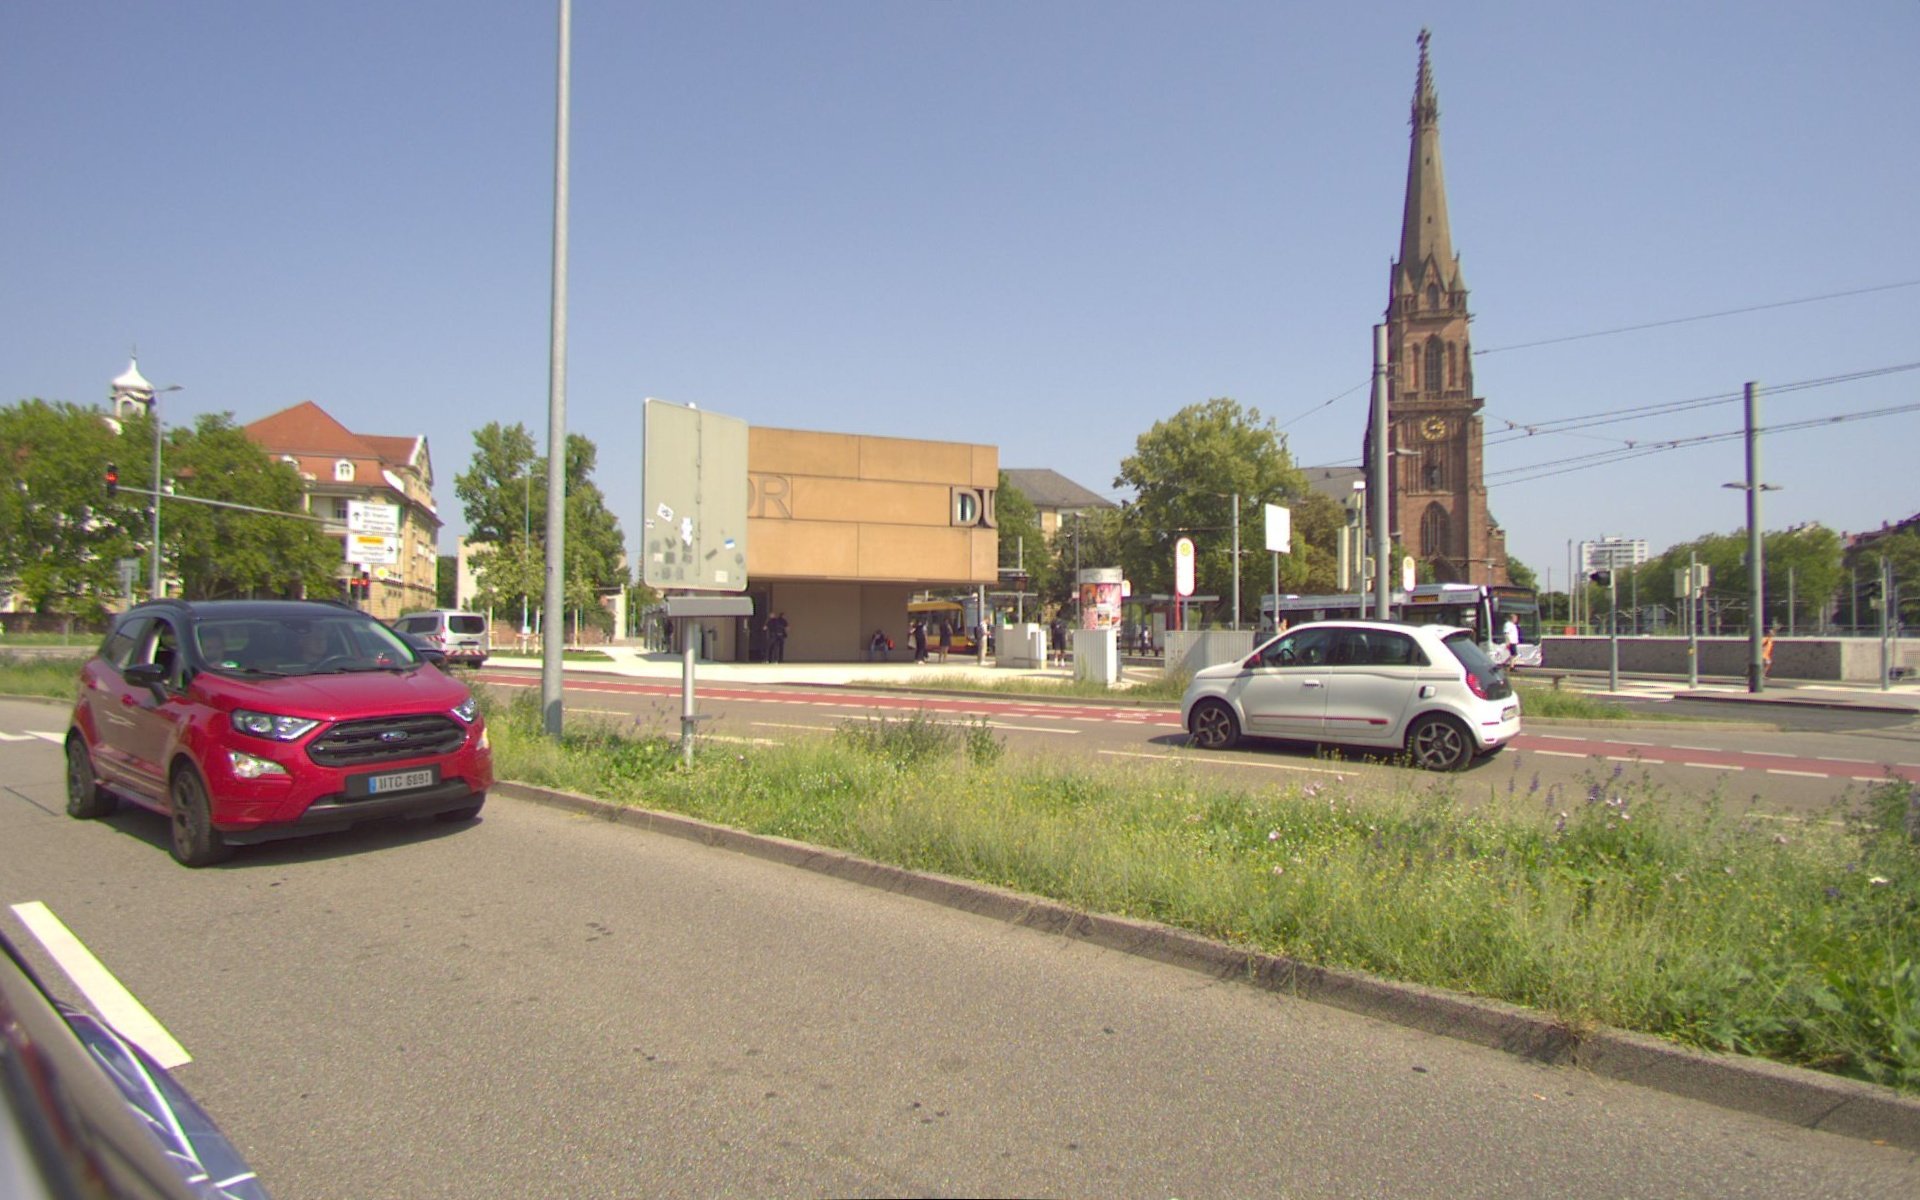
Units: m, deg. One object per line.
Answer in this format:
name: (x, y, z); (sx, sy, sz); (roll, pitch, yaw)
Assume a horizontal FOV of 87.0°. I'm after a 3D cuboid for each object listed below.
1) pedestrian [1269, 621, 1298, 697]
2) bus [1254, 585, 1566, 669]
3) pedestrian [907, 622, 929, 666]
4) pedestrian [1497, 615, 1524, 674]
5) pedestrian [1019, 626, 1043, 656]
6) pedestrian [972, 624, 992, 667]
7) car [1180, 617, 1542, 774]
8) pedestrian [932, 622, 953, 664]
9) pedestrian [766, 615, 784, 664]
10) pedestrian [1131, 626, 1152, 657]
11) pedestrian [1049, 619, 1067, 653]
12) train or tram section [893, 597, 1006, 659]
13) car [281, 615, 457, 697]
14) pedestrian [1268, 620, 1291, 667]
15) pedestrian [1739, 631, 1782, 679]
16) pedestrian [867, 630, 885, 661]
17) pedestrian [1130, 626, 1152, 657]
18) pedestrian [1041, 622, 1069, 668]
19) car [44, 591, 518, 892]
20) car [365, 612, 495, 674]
pedestrian: (7.925, 1.432, 24.810); (0.633, 1.825, 0.598); (-1, 0, 17)
bus: (16.573, 1.073, 39.105); (3.346, 2.733, 12.382); (1, -2, -20)
pedestrian: (-1.490, 1.549, 35.680); (0.541, 1.508, 0.532); (-2, -3, 40)
pedestrian: (17.313, 1.397, 31.819); (0.638, 1.825, 0.594); (-1, 0, 39)
pedestrian: (4.125, 2.396, 58.860); (1.060, 1.709, 1.068); (1, -2, -22)
pedestrian: (0.794, 1.632, 36.485); (0.541, 1.508, 0.532); (-2, -3, 40)
car: (4.395, 0.961, 11.372); (3.476, 1.490, 1.505); (-2, -3, 42)
pedestrian: (-0.619, 1.537, 36.436); (0.541, 1.508, 0.532); (-2, -3, 40)
pedestrian: (-6.223, 1.322, 34.090); (0.533, 1.637, 0.690); (1, -2, -13)
pedestrian: (10.101, 2.320, 56.274); (0.810, 1.709, 0.790); (1, -2, -22)
pedestrian: (5.386, 1.979, 55.501); (0.792, 1.837, 0.535); (1, -2, -20)
train or tram section: (-0.979, 1.768, 63.142); (2.658, 3.465, 13.463); (1, -2, -20)
car: (-11.315, 1.032, 19.335); (3.467, 1.437, 1.509); (-1, -2, 33)
pedestrian: (11.896, 1.627, 37.714); (0.691, 1.724, 0.530); (-1, -2, 34)
pedestrian: (26.264, 1.781, 33.213); (0.730, 1.555, 0.861); (1, -2, -29)
pedestrian: (-3.048, 1.649, 36.743); (0.530, 1.108, 0.543); (1, -2, -17)
pedestrian: (10.078, 2.314, 56.367); (0.832, 1.709, 0.961); (1, -2, -20)
pedestrian: (3.132, 1.490, 33.497); (0.606, 1.508, 0.761); (-1, -3, 40)
car: (-4.964, 0.788, 7.220); (3.839, 1.598, 1.674); (-2, -1, 38)
car: (-16.946, 1.338, 32.330); (3.900, 1.868, 1.850); (-1, -2, 30)
